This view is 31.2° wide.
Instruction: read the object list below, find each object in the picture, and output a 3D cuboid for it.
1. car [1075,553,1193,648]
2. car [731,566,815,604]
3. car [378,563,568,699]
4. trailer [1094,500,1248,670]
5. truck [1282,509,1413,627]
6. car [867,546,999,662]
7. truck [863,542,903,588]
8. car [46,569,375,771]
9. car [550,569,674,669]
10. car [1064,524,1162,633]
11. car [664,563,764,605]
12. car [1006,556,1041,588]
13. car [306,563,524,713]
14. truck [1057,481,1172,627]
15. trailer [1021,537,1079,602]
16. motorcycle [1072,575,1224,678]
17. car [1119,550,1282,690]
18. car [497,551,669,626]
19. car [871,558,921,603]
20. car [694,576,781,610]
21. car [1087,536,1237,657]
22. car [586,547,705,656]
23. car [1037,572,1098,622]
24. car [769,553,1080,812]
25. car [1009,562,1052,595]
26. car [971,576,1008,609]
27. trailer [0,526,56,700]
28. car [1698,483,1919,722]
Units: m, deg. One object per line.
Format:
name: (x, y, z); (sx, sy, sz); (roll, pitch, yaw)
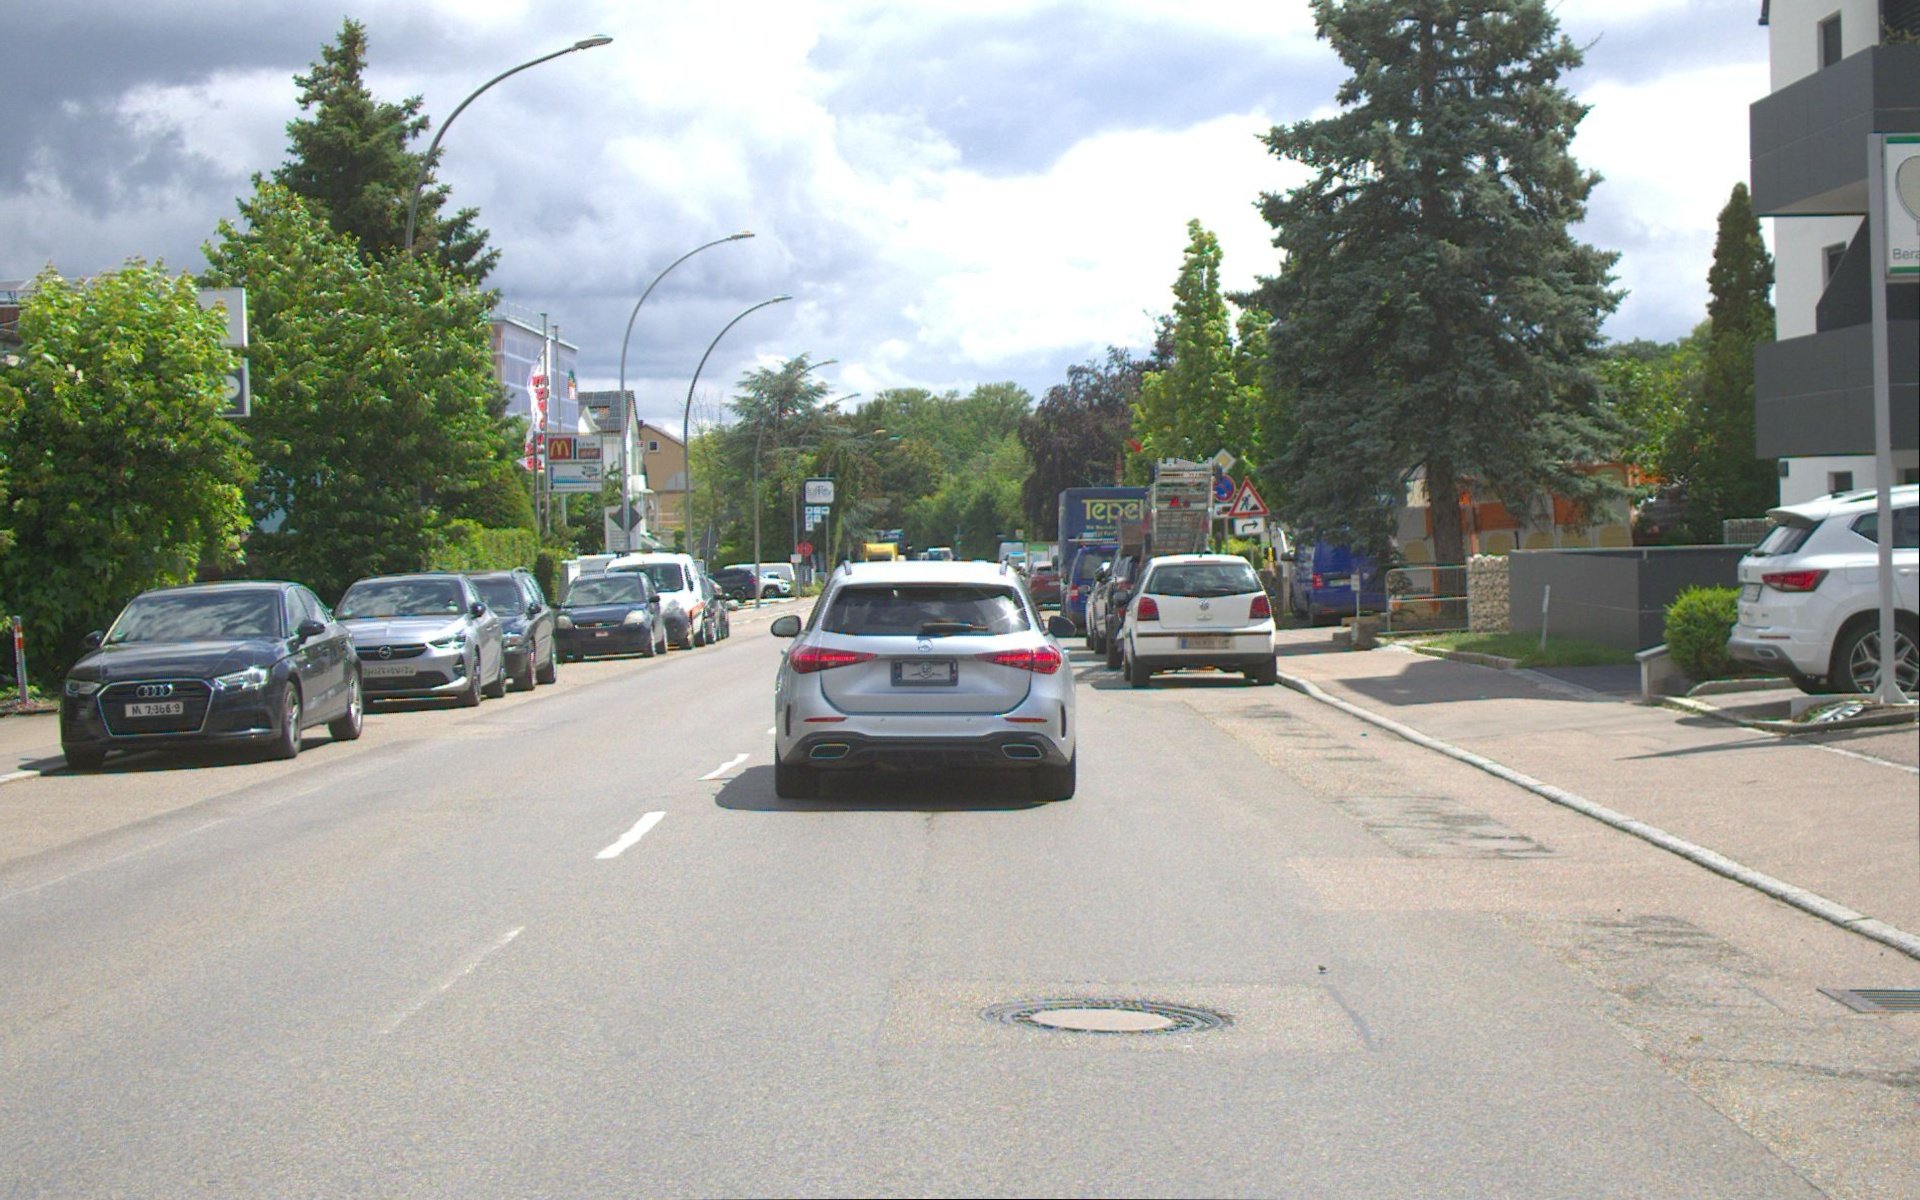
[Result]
car: (2.930, -0.016, 58.588); (1.773, 1.503, 4.000); (-2, 1, 0)
car: (-9.887, -0.786, 181.965); (4.279, 1.830, 1.991); (-2, -3, 0)
car: (-5.948, 0.331, 42.459); (1.719, 1.488, 4.736); (-2, 1, -1)
trailer: (2.797, -0.227, 46.389); (1.773, 2.137, 4.114); (-2, 1, 0)
truck: (7.711, -0.692, 68.839); (1.829, 2.074, 5.386); (-4, 2, 0)
car: (-0.415, 0.020, 48.823); (1.755, 1.553, 4.000); (-1, 1, -2)
truck: (-4.914, -2.298, 220.991); (2.075, 2.804, 7.077); (-2, 1, 2)
car: (-6.024, 0.508, 28.105); (1.662, 1.409, 4.338); (-3, 1, 0)
car: (-5.858, 0.294, 58.211); (1.639, 1.482, 4.000); (-4, 1, -1)
car: (3.115, -0.463, 70.559); (1.873, 2.161, 4.464); (1, 1, 1)
car: (-11.756, -0.751, 164.389); (4.626, 1.627, 2.198); (-4, 1, -2)
car: (4.117, -1.798, 222.532); (2.144, 1.977, 5.261); (-2, 1, 1)
car: (-5.874, 0.367, 37.449); (1.719, 1.427, 4.200); (-3, 1, -1)
truck: (3.364, -1.019, 76.145); (2.320, 3.086, 6.042); (1, 1, 1)
trailer: (3.325, -1.130, 127.783); (1.941, 2.286, 4.446); (-2, 0, -1)
motorcycle: (2.359, 0.321, 43.075); (1.817, 1.205, 0.717); (-2, 1, -34)
car: (2.742, 0.194, 39.827); (1.719, 1.427, 3.983); (-3, 1, 3)
car: (-10.615, -0.329, 97.101); (4.651, 1.965, 2.116); (-1, 1, -2)
car: (-2.373, -0.732, 127.412); (1.743, 1.622, 4.356); (-1, 1, 0)
car: (-11.424, -0.358, 176.946); (4.279, 1.561, 1.991); (-2, -3, 1)
car: (3.055, -0.085, 52.911); (1.873, 1.721, 4.713); (-2, 1, -1)
car: (-5.814, -0.009, 64.036); (1.743, 1.832, 4.356); (-4, 1, -1)
car: (3.665, -0.129, 116.379); (1.941, 1.566, 4.445); (-2, 1, 3)
car: (-0.250, 0.445, 21.912); (1.784, 1.479, 4.317); (0, 1, -1)
car: (3.349, -1.031, 163.612); (1.791, 1.445, 4.364); (-2, 1, -2)
car: (1.469, -0.391, 170.170); (1.755, 1.553, 4.000); (-1, 1, 0)
trailer: (-17.649, 0.366, 53.593); (6.241, 2.643, 2.732); (-4, 1, 0)
car: (7.970, -0.117, 26.146); (4.192, 1.648, 1.867); (-5, 1, 0)
